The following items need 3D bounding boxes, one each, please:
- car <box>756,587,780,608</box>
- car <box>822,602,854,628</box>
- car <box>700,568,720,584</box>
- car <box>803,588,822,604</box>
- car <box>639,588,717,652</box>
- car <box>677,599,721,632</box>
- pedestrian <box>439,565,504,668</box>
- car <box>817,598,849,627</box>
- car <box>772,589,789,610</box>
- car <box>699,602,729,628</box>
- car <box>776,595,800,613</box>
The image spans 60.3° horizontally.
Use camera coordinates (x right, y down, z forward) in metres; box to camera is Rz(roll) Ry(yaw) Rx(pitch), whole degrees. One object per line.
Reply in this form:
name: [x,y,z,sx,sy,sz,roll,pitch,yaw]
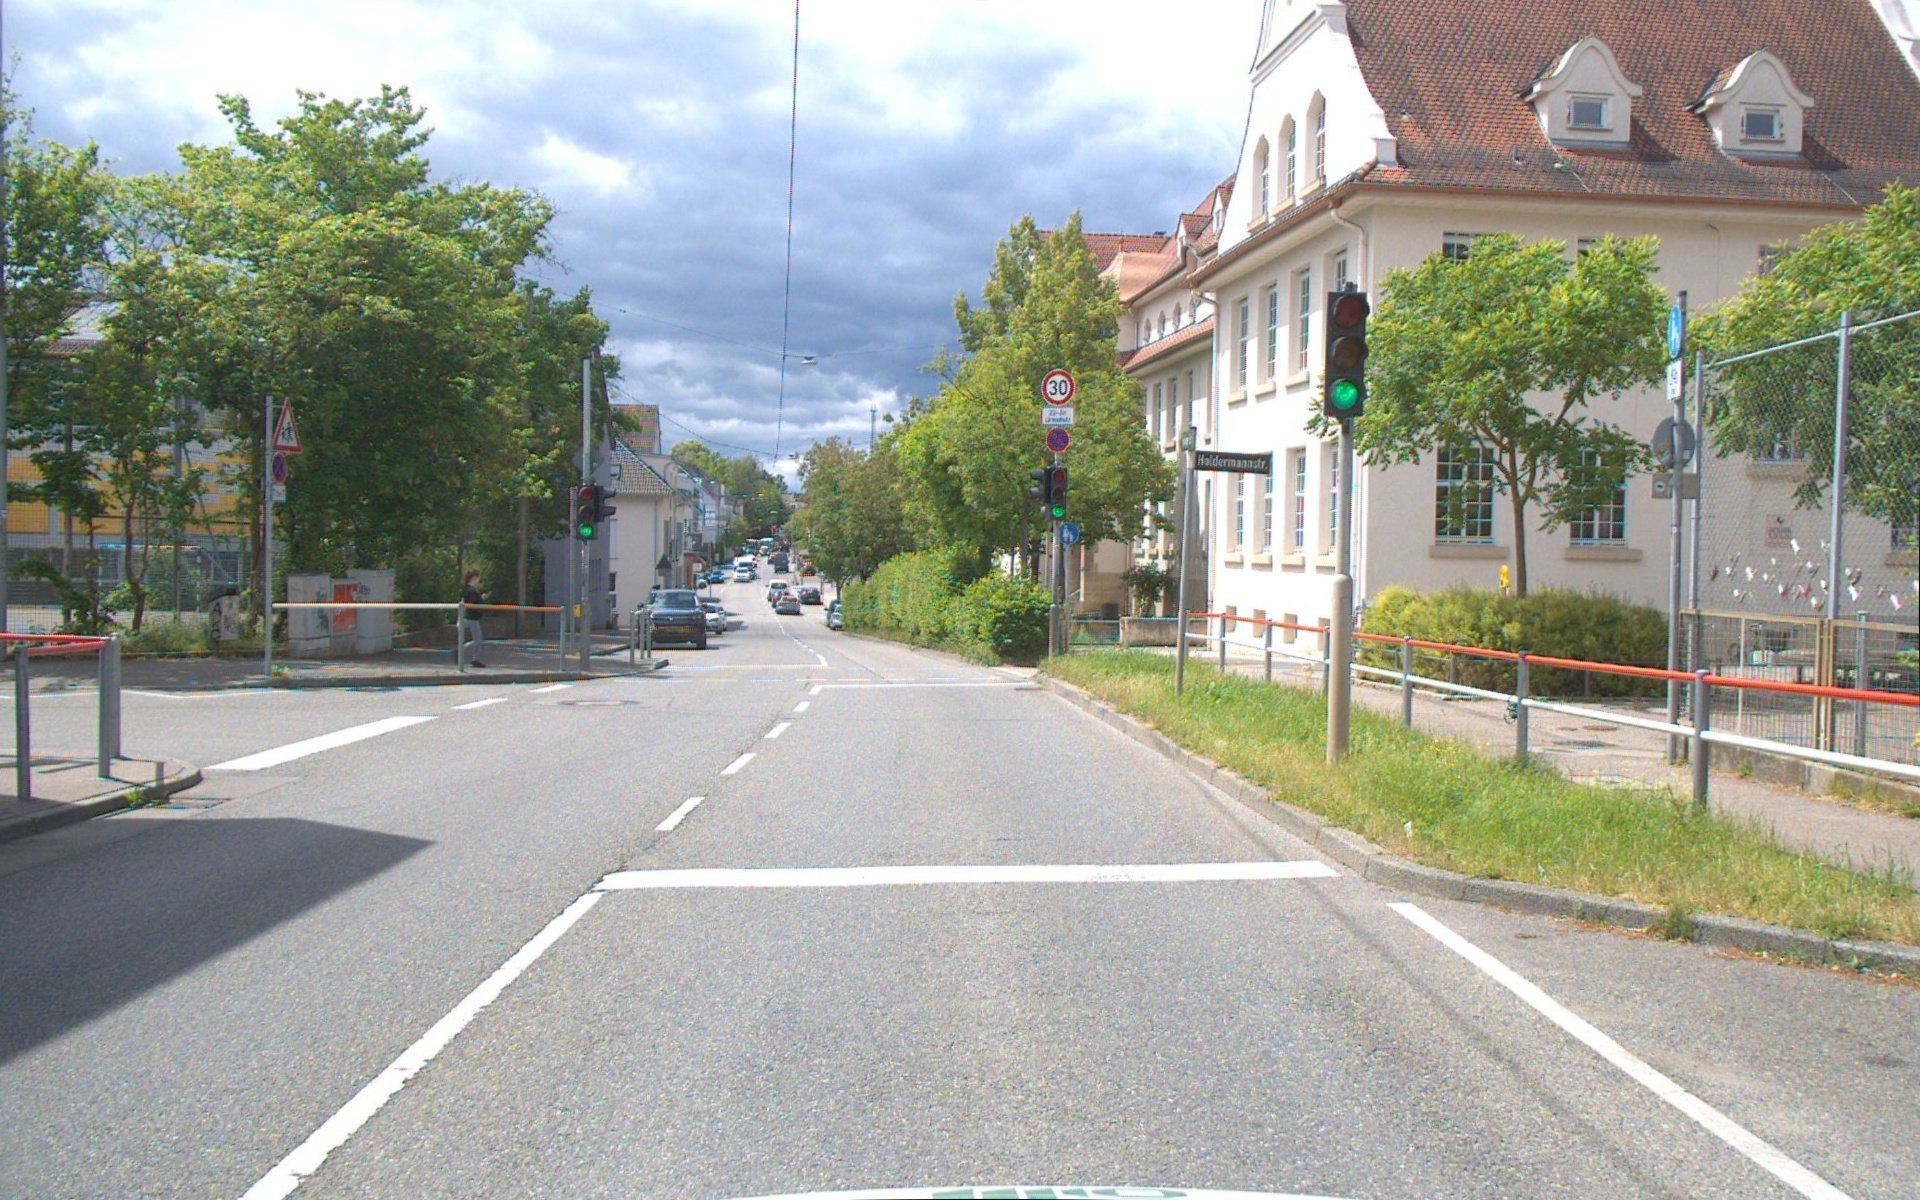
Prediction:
car: [-17.572,-0.238,151.397,1.804,1.894,3.840,1,0,-11]
car: [-7.556,0.911,102.025,1.752,1.535,4.358,1,0,-7]
car: [-28.194,-2.676,186.724,1.836,1.668,3.996,2,0,-5]
car: [-13.260,-0.387,148.574,1.719,1.395,3.995,1,0,-6]
car: [-7.730,0.505,45.674,1.760,1.638,4.641,1,0,-5]
car: [-12.412,0.726,78.616,1.669,1.414,3.851,1,1,-15]
pedestrian: [-7.848,0.259,26.562,0.766,1.625,0.661,1,0,-43]
car: [-8.300,0.809,107.938,1.809,1.798,4.508,1,0,-7]
car: [-15.450,-0.048,142.336,1.251,1.553,3.043,0,3,-11]
car: [-14.335,0.860,96.597,1.616,1.443,3.692,1,0,-7]
car: [-13.830,0.306,132.698,1.712,1.441,3.991,0,0,-9]
